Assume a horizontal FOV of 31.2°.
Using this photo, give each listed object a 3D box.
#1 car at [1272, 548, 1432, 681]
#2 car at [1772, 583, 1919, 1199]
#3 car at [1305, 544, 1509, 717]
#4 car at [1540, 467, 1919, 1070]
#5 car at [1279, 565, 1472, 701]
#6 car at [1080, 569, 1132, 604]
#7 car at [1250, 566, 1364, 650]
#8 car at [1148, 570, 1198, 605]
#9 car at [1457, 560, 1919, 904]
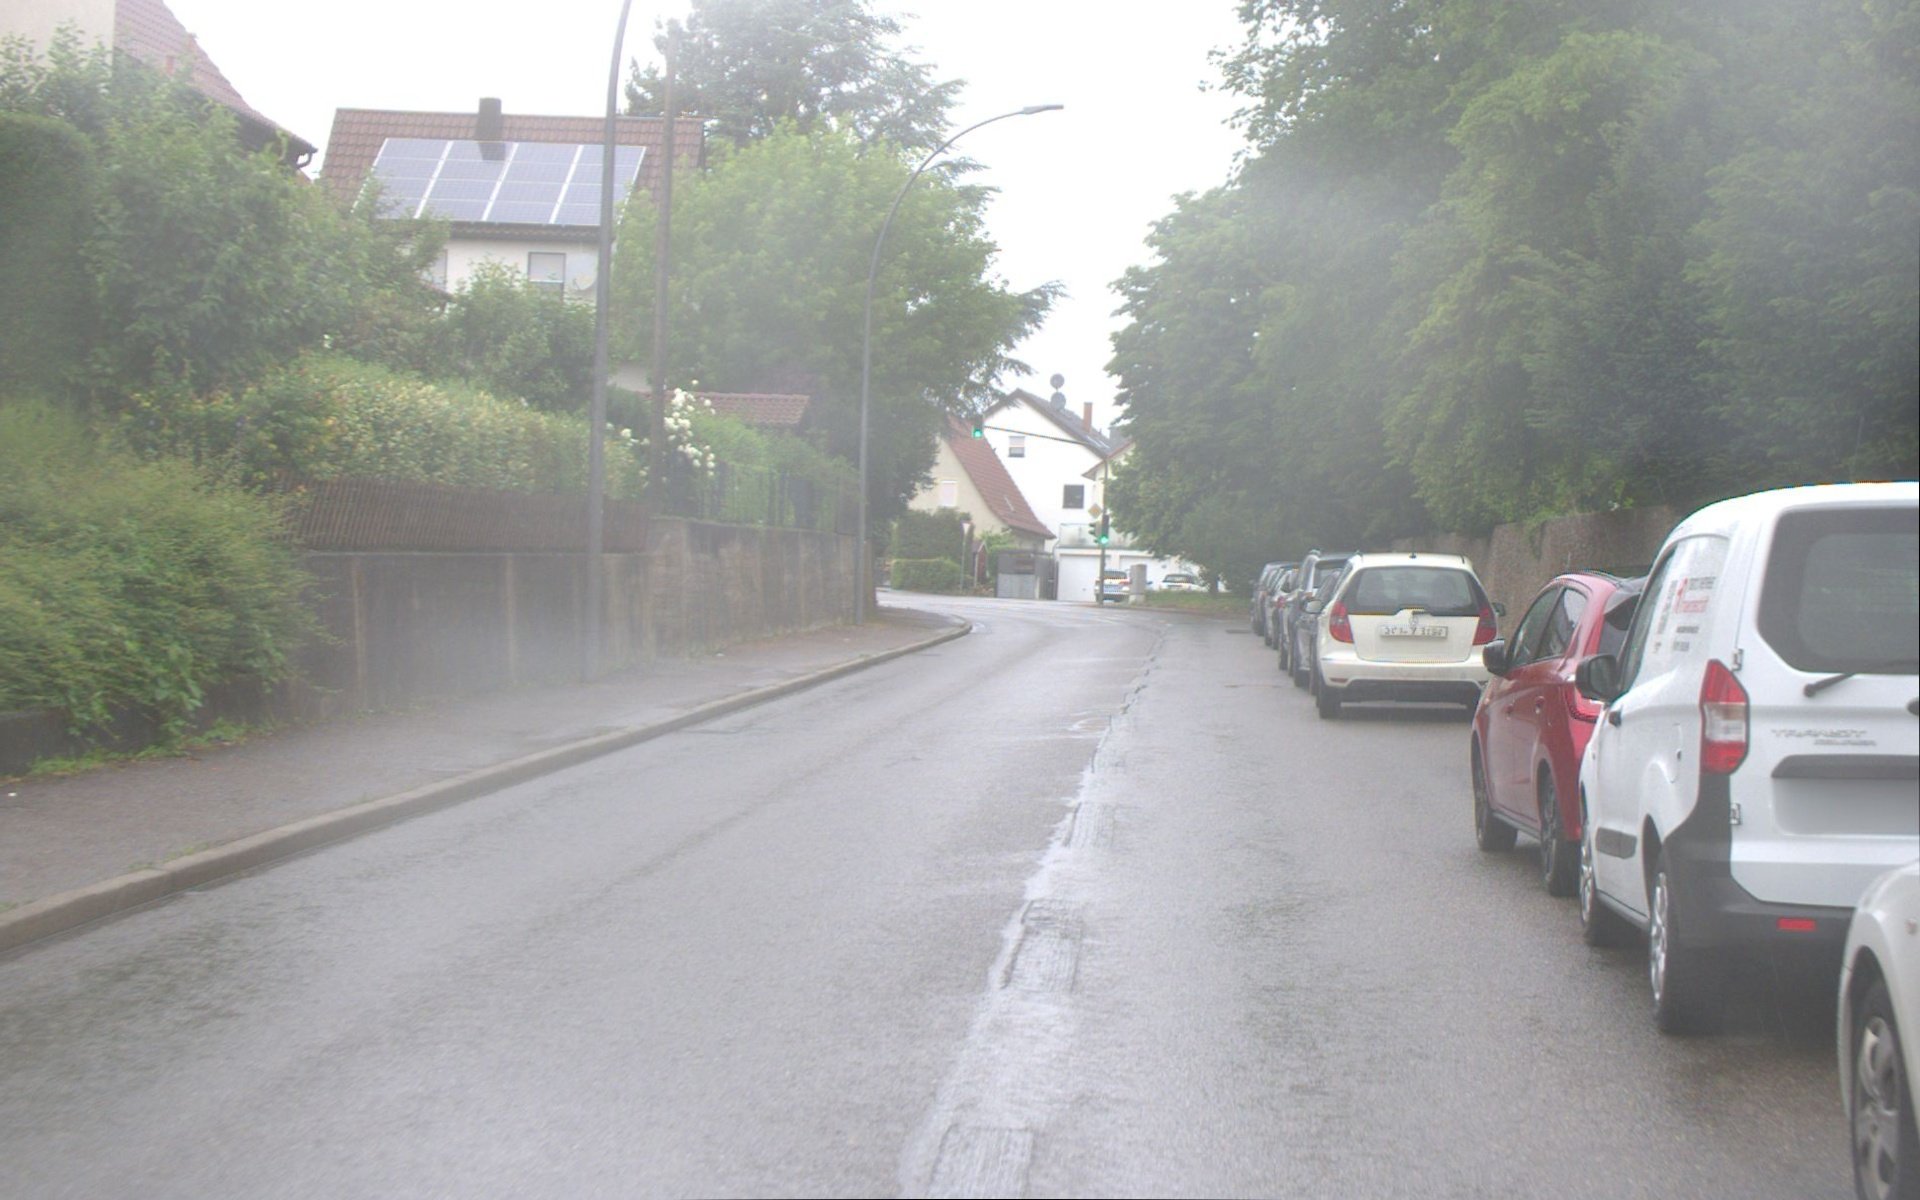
[{"bbox_3d":[5.239,0.187,46.452,1.742,1.662,4.497,2,0,2],"label":"car"},{"bbox_3d":[2.697,0.727,6.128,1.646,1.457,4.000,2,0,2],"label":"car"},{"bbox_3d":[4.366,0.284,34.026,1.815,1.568,3.879,2,0,5],"label":"car"},{"bbox_3d":[3.085,0.493,12.055,1.637,1.735,4.135,2,0,4],"label":"car"},{"bbox_3d":[4.783,0.362,40.132,1.764,1.442,4.696,2,0,2],"label":"car"},{"bbox_3d":[6.423,-0.601,150.995,1.907,1.437,3.999,2,1,7],"label":"car"},{"bbox_3d":[6.034,0.114,60.076,1.652,1.367,4.181,2,1,2],"label":"car"},{"bbox_3d":[9.338,-0.555,150.338,1.907,1.437,3.999,2,1,7],"label":"car"},{"bbox_3d":[3.449,0.554,16.788,1.584,1.450,3.664,0,1,1],"label":"car"}]
